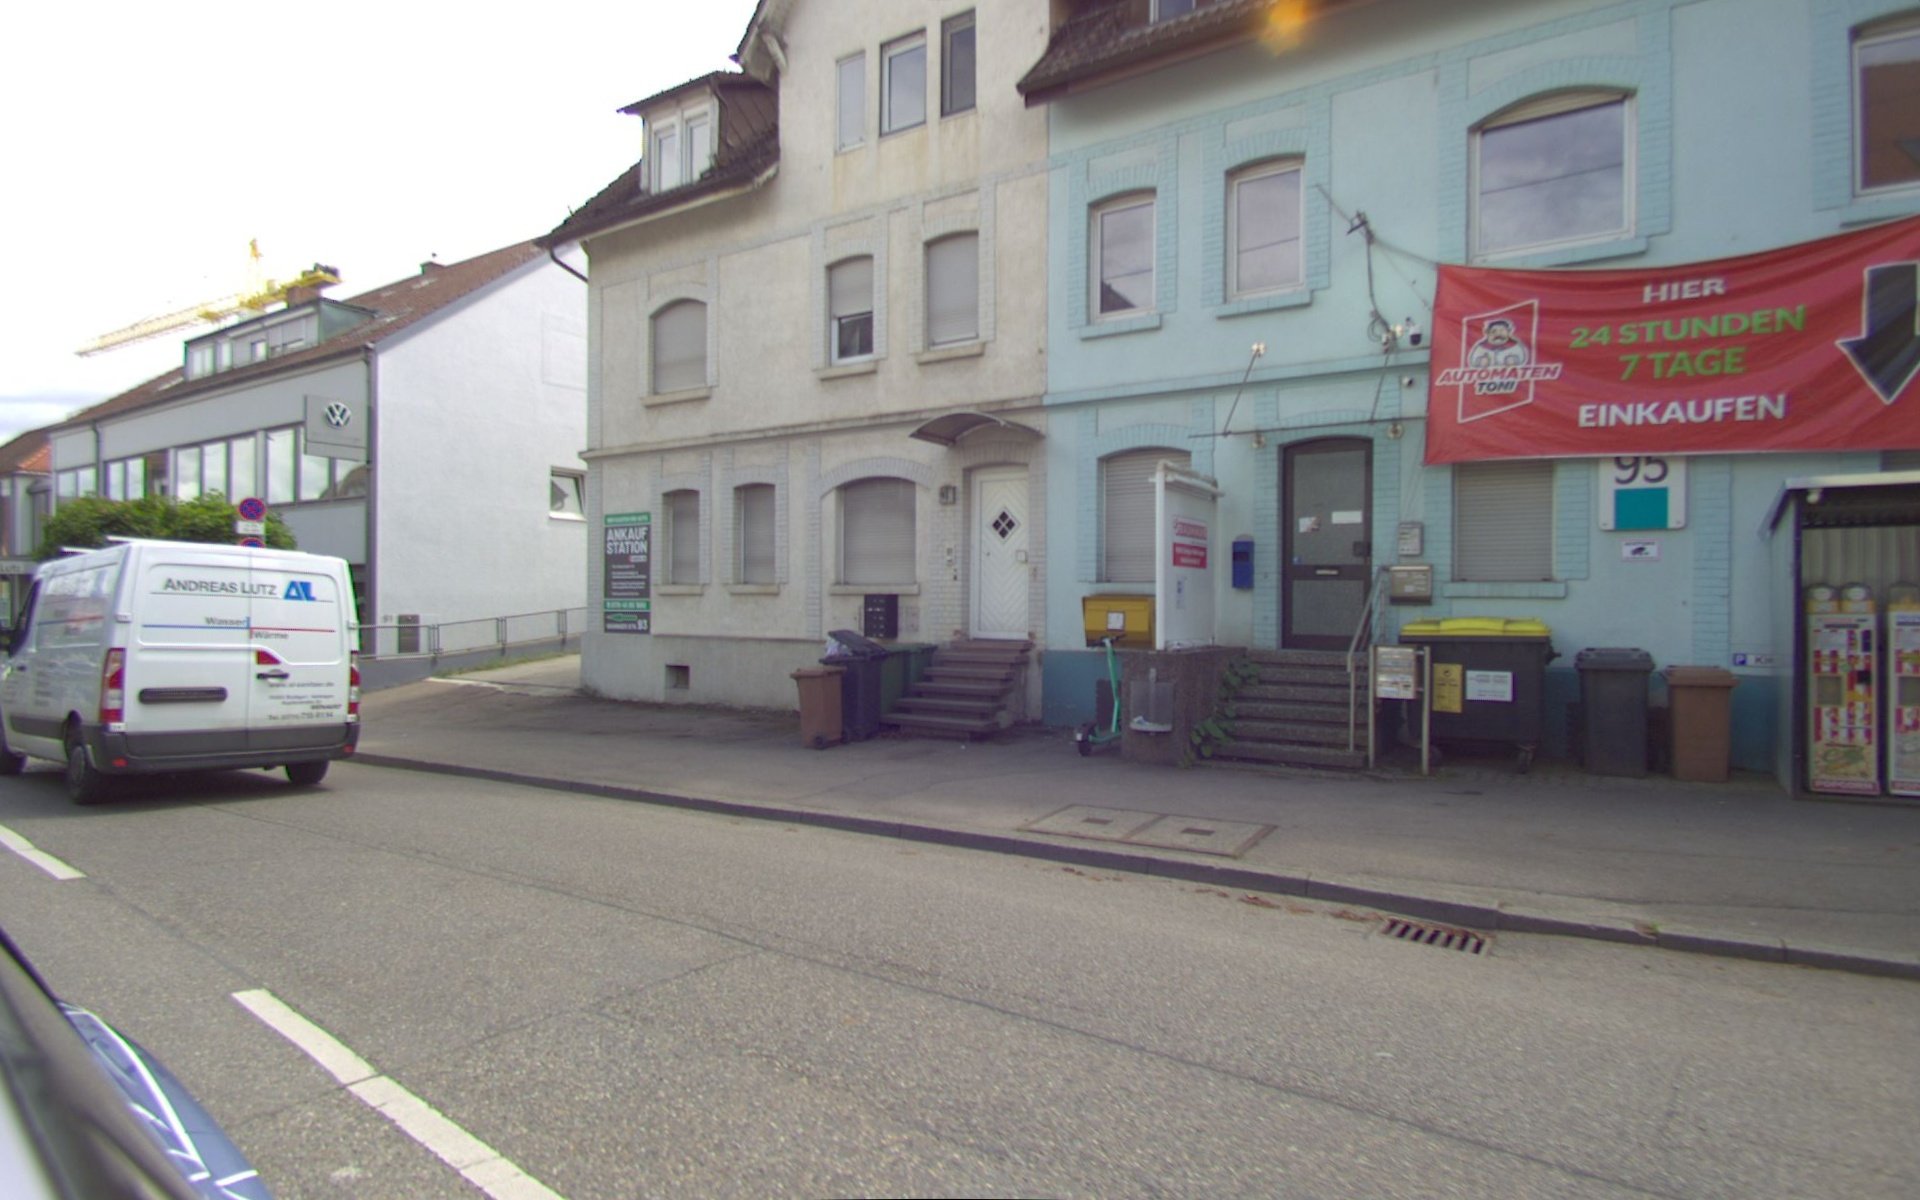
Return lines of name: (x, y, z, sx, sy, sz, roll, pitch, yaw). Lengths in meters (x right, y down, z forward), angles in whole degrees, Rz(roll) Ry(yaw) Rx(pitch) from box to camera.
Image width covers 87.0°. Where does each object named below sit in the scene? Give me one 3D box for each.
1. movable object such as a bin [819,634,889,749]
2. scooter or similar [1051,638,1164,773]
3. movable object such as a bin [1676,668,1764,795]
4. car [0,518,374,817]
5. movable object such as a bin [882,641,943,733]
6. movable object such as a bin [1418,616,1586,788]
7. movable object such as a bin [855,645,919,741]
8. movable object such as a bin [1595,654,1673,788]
movable object such as a bin: (-1.243, 1.060, 11.922, 0.561, 1.282, 0.561, -1, 1, 29)
scooter or similar: (1.534, 1.028, 10.344, 0.544, 1.193, 1.541, -1, 0, 33)
movable object such as a bin: (6.129, 1.043, 8.182, 0.516, 0.939, 0.443, -1, 0, 32)
car: (-8.327, 0.661, 10.437, 5.174, 2.372, 2.044, -2, -4, 37)
movable object such as a bin: (-0.609, 1.113, 13.118, 0.561, 1.109, 0.561, -1, 1, 29)
movable object such as a bin: (4.819, 0.841, 8.995, 1.243, 1.365, 1.012, -1, 0, 32)
movable object such as a bin: (-0.902, 1.140, 12.575, 0.561, 1.109, 0.561, -1, 1, 29)
movable object such as a bin: (5.638, 0.993, 8.489, 0.516, 1.048, 0.429, -1, 0, 32)
